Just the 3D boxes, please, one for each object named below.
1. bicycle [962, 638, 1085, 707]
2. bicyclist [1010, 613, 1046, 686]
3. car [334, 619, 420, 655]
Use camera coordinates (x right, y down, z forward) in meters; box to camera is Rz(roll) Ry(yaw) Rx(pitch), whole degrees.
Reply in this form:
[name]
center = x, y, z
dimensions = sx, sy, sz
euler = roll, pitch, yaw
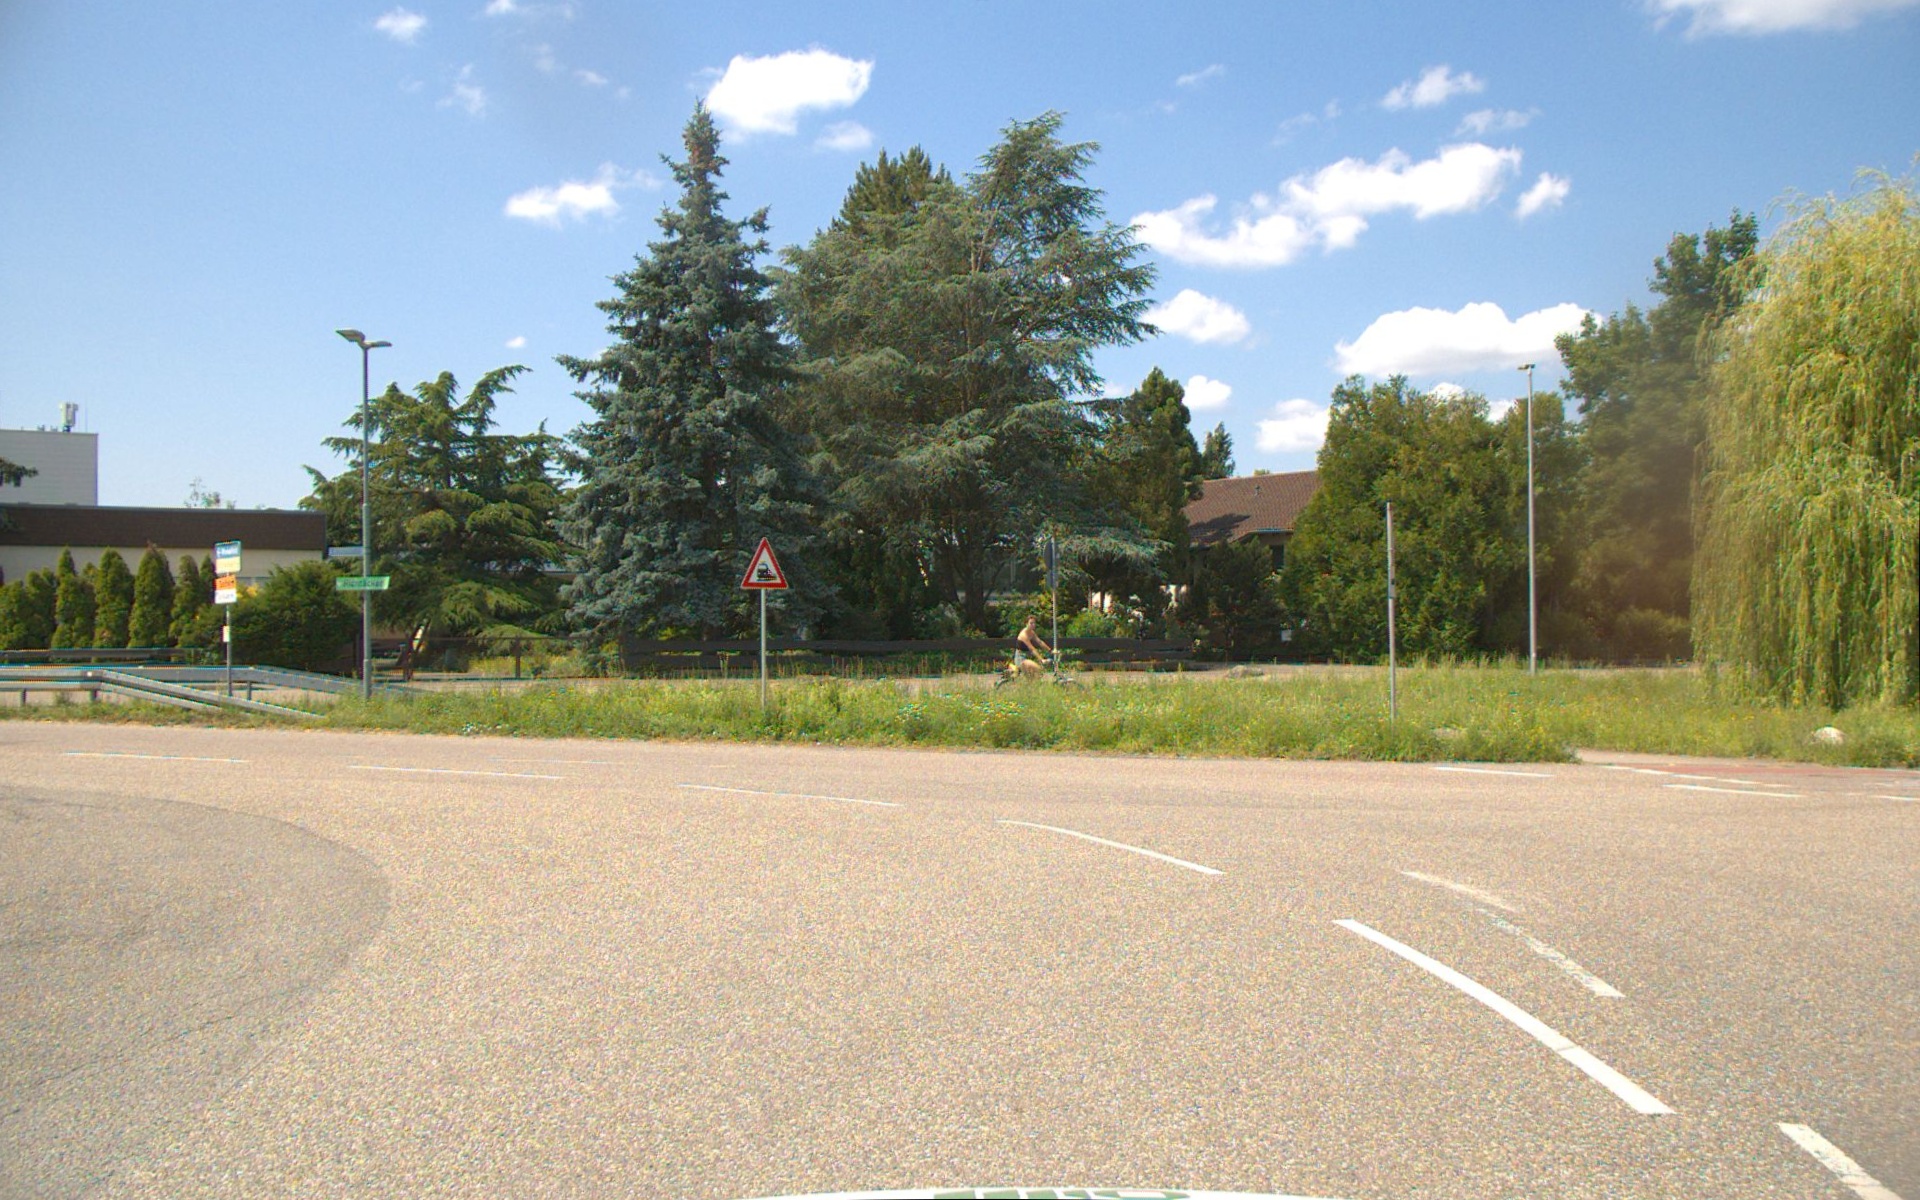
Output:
[bicycle]
center = 1.122, 1.275, 29.421
dimensions = 2.096, 1.185, 0.661
euler = 0, 0, 24
[bicyclist]
center = 1.208, 0.875, 29.385
dimensions = 0.499, 1.277, 0.469
euler = 0, -1, 23
[car]
center = -26.990, 1.702, 76.568
dimensions = 3.494, 1.613, 1.547
euler = 0, 0, -34
